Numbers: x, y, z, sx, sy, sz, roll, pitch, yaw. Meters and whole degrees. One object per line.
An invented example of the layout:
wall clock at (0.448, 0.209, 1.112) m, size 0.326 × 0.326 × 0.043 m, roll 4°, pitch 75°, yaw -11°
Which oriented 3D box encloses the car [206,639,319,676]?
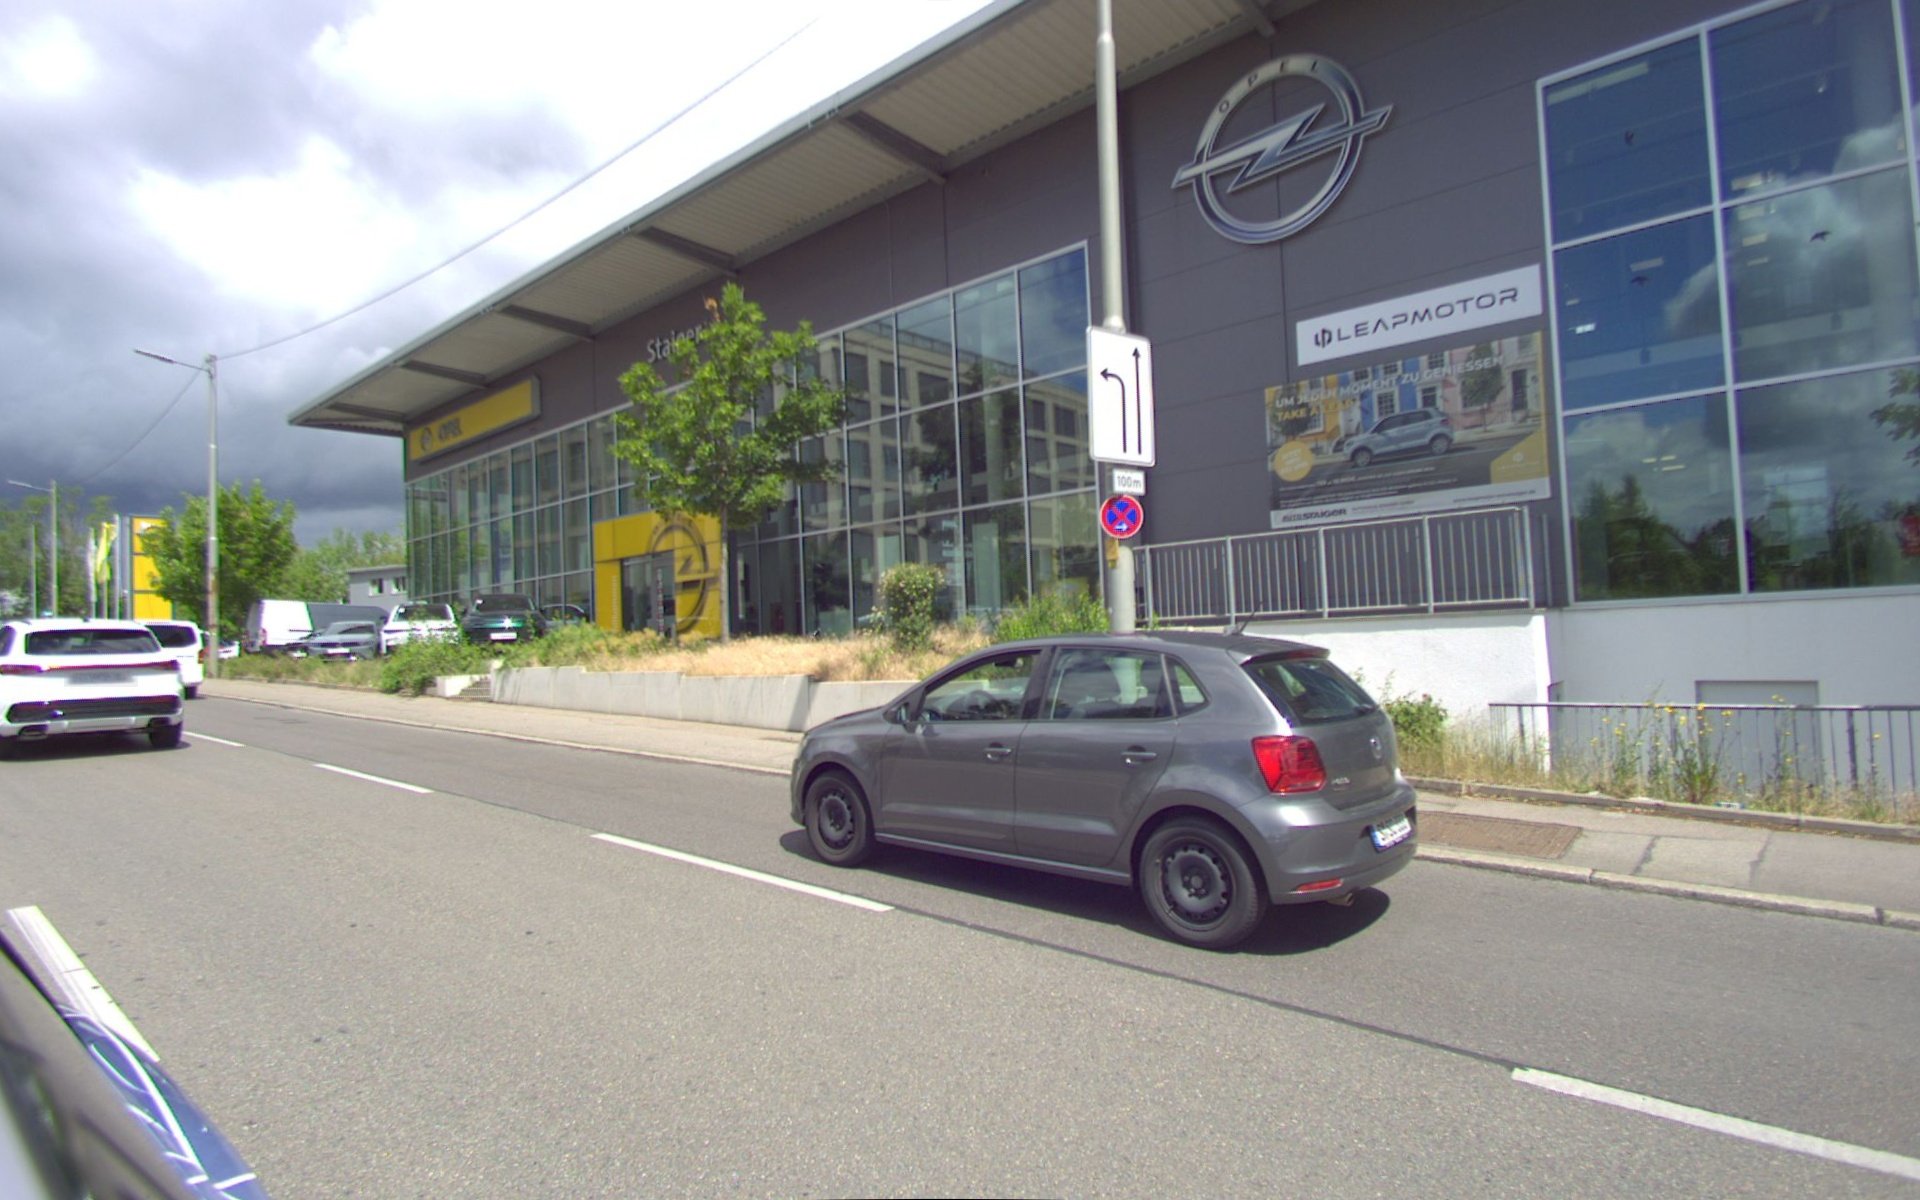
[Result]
car at (-31.118, 2.544, 45.227) m, size 1.559 × 1.539 × 3.897 m, roll -2°, pitch -3°, yaw 38°

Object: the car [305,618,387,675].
car at (-18.971, 1.423, 31.423) m, size 1.767 × 1.625 × 4.122 m, roll 0°, pitch -2°, yaw -26°

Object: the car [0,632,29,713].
car at (-21.236, 1.511, 21.377) m, size 4.105 × 1.625 × 1.774 m, roll -2°, pitch -2°, yaw 40°

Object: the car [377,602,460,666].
car at (-14.837, 0.912, 27.909) m, size 1.767 × 1.625 × 4.122 m, roll 0°, pitch -2°, yaw -25°

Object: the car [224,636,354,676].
car at (-29.246, 2.386, 44.209) m, size 1.923 × 1.625 × 4.358 m, roll -2°, pitch -3°, yaw 38°

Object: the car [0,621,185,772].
car at (-11.649, 1.124, 12.963) m, size 4.413 × 1.625 × 1.899 m, roll -2°, pitch -2°, yaw 41°

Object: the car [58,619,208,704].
car at (-20.311, 1.488, 24.776) m, size 5.196 × 1.874 × 1.899 m, roll -2°, pitch -4°, yaw 41°

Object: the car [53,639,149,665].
car at (-52.565, 3.142, 61.983) m, size 2.093 × 1.493 × 4.200 m, roll -2°, pitch -3°, yaw 38°

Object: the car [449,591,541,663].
car at (-11.349, 0.680, 24.924) m, size 1.790 × 1.625 × 4.122 m, roll 0°, pitch -2°, yaw -21°

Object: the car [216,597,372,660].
car at (-24.914, 1.056, 37.985) m, size 2.177 × 2.211 × 4.475 m, roll -1°, pitch -2°, yaw 39°

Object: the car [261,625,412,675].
car at (-21.316, 1.679, 34.751) m, size 1.792 × 1.625 × 4.064 m, roll -2°, pitch -2°, yaw 32°

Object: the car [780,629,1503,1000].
car at (0.840, 0.923, 5.824) m, size 3.732 × 1.424 × 1.740 m, roll -2°, pitch -4°, yaw 41°
